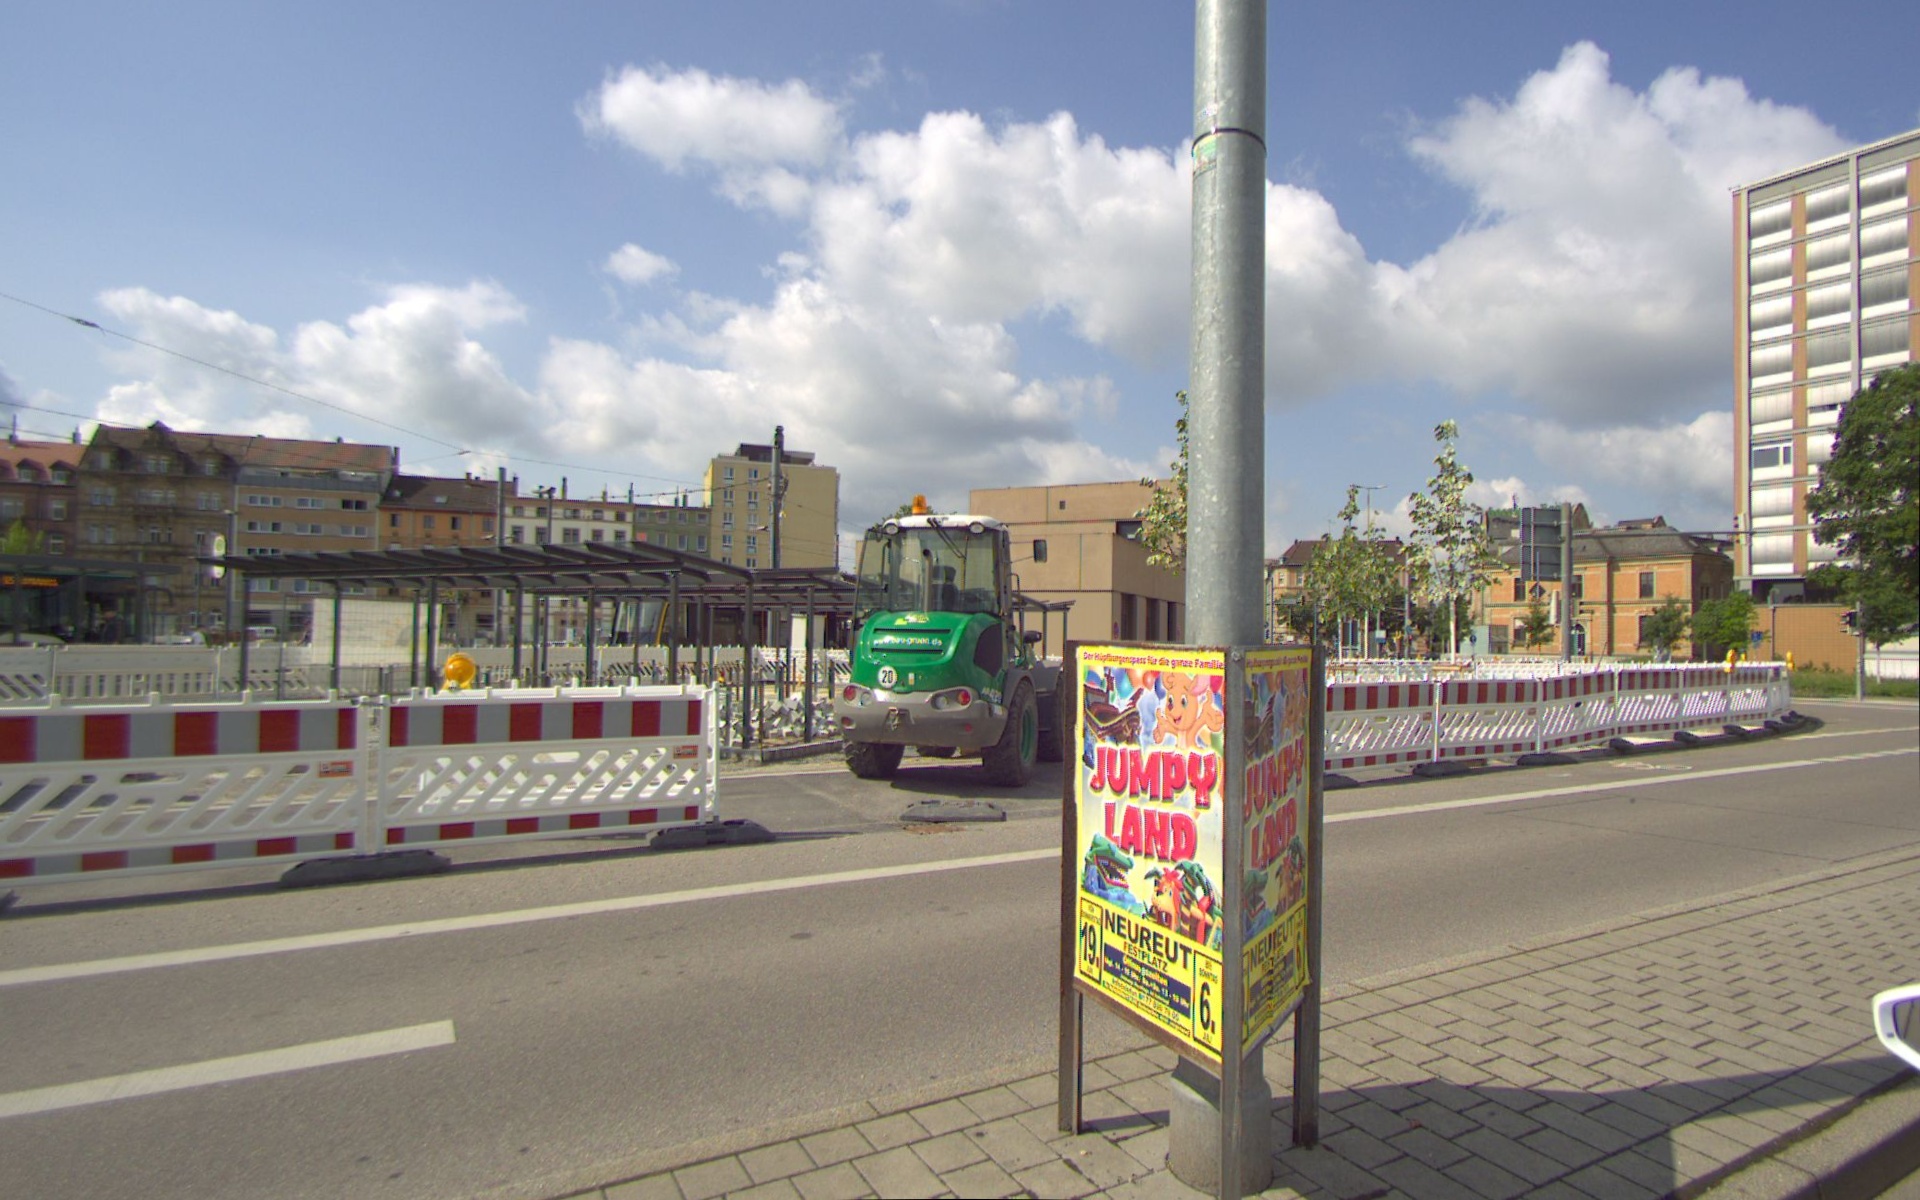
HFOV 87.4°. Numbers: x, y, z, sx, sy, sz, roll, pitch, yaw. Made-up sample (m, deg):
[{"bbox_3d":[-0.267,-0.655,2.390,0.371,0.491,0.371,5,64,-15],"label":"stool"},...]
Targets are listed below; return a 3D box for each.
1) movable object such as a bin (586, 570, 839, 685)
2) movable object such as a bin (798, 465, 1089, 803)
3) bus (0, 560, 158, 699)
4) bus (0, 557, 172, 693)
[{"bbox_3d":[-8.210,1.045,35.225,2.966,3.468,9.677,0,-2,27],"label":"movable object such as a bin"},{"bbox_3d":[0.084,0.396,11.307,1.960,2.988,4.453,0,-3,17],"label":"movable object such as a bin"},{"bbox_3d":[-22.896,0.636,22.218,2.329,3.098,7.758,0,-3,25],"label":"bus"},{"bbox_3d":[-25.754,0.520,22.986,2.937,3.305,12.067,0,-3,25],"label":"bus"}]
